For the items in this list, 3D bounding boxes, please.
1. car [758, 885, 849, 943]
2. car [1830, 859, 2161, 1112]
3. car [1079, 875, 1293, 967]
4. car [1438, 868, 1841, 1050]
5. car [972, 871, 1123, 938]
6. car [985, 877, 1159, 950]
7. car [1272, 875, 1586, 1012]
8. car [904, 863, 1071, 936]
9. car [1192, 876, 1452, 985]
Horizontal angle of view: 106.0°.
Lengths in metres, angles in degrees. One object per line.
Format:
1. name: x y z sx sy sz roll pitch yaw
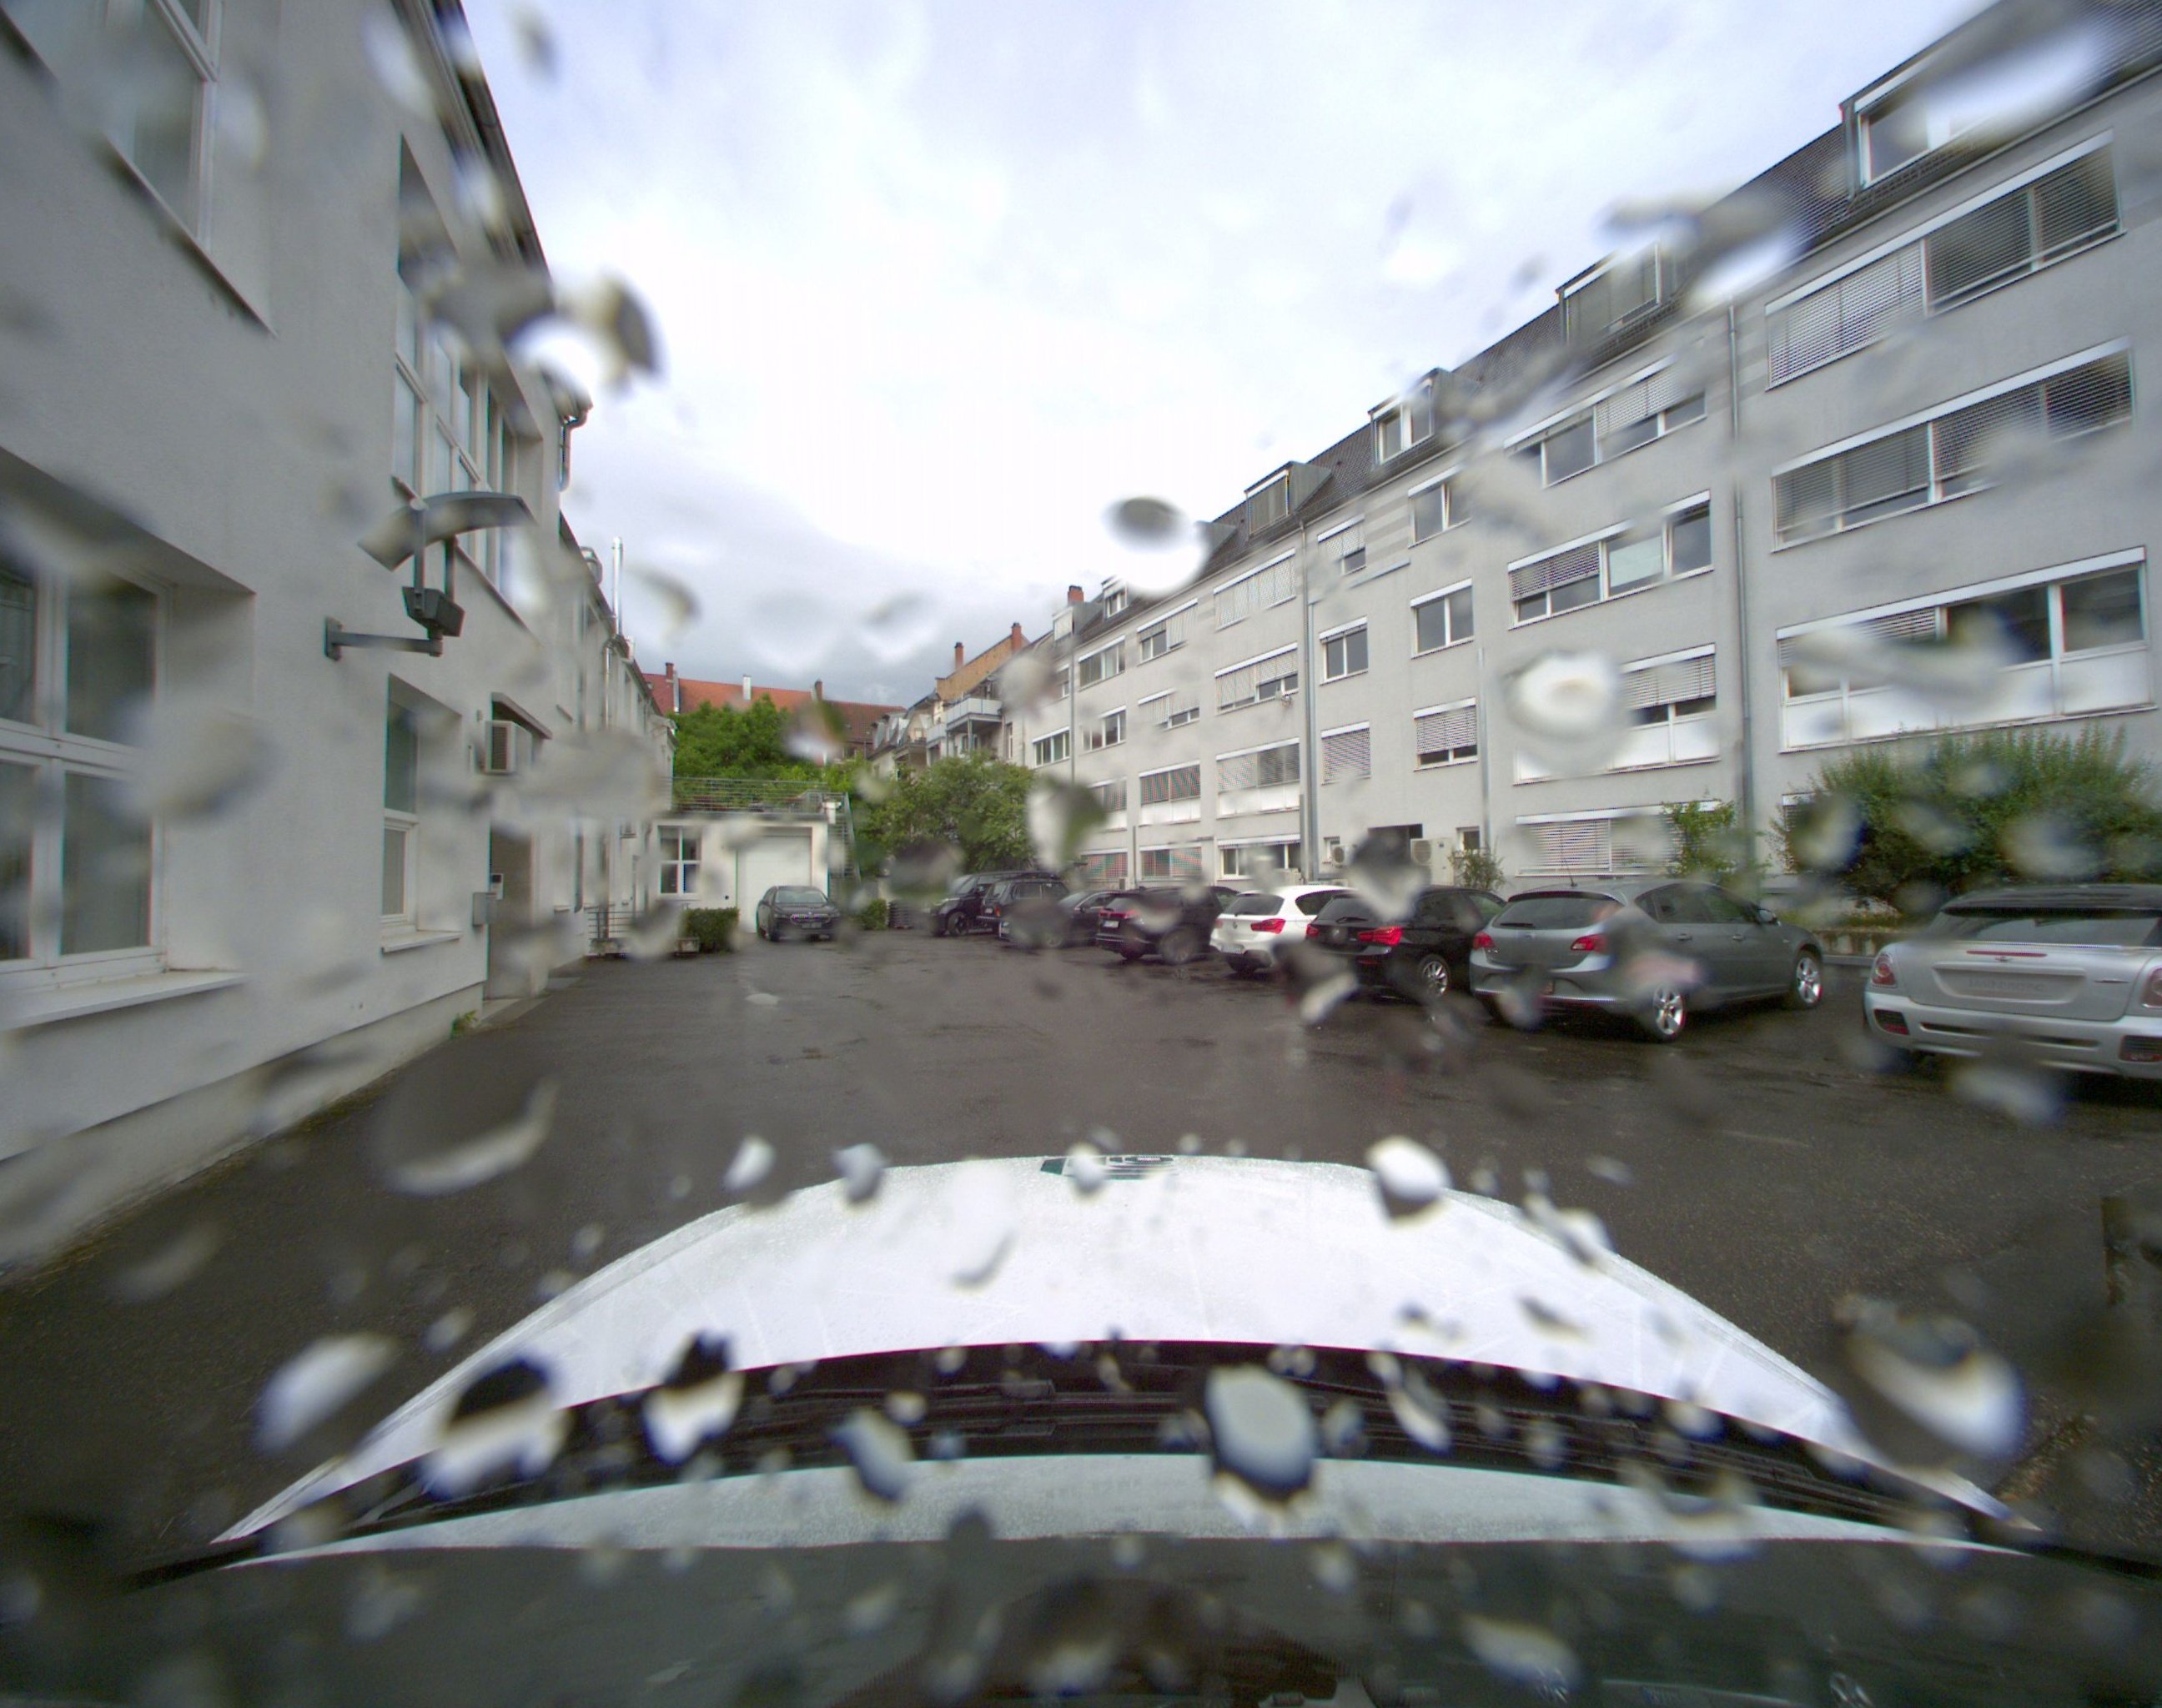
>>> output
1. car: -7.892 1.613 22.951 1.989 1.444 3.966 0 -2 -25
2. car: 7.684 0.808 6.241 3.433 1.427 1.673 -2 -2 -26
3. car: 2.123 1.251 16.250 3.934 1.514 1.802 -1 -2 -31
4. car: 5.982 0.946 8.694 4.008 1.446 1.791 -1 -2 -27
5. car: -0.960 1.400 23.344 3.928 1.687 1.802 -1 -2 -25
6. car: -0.204 1.407 20.108 3.932 1.514 1.736 -1 -2 -29
7. car: 4.747 1.071 11.038 4.010 1.403 1.757 -2 -1 -28
8. car: -2.891 1.336 25.494 4.668 2.003 2.201 -1 -1 -34
9. car: 3.995 1.160 13.411 4.011 1.458 1.756 -1 -2 -29
